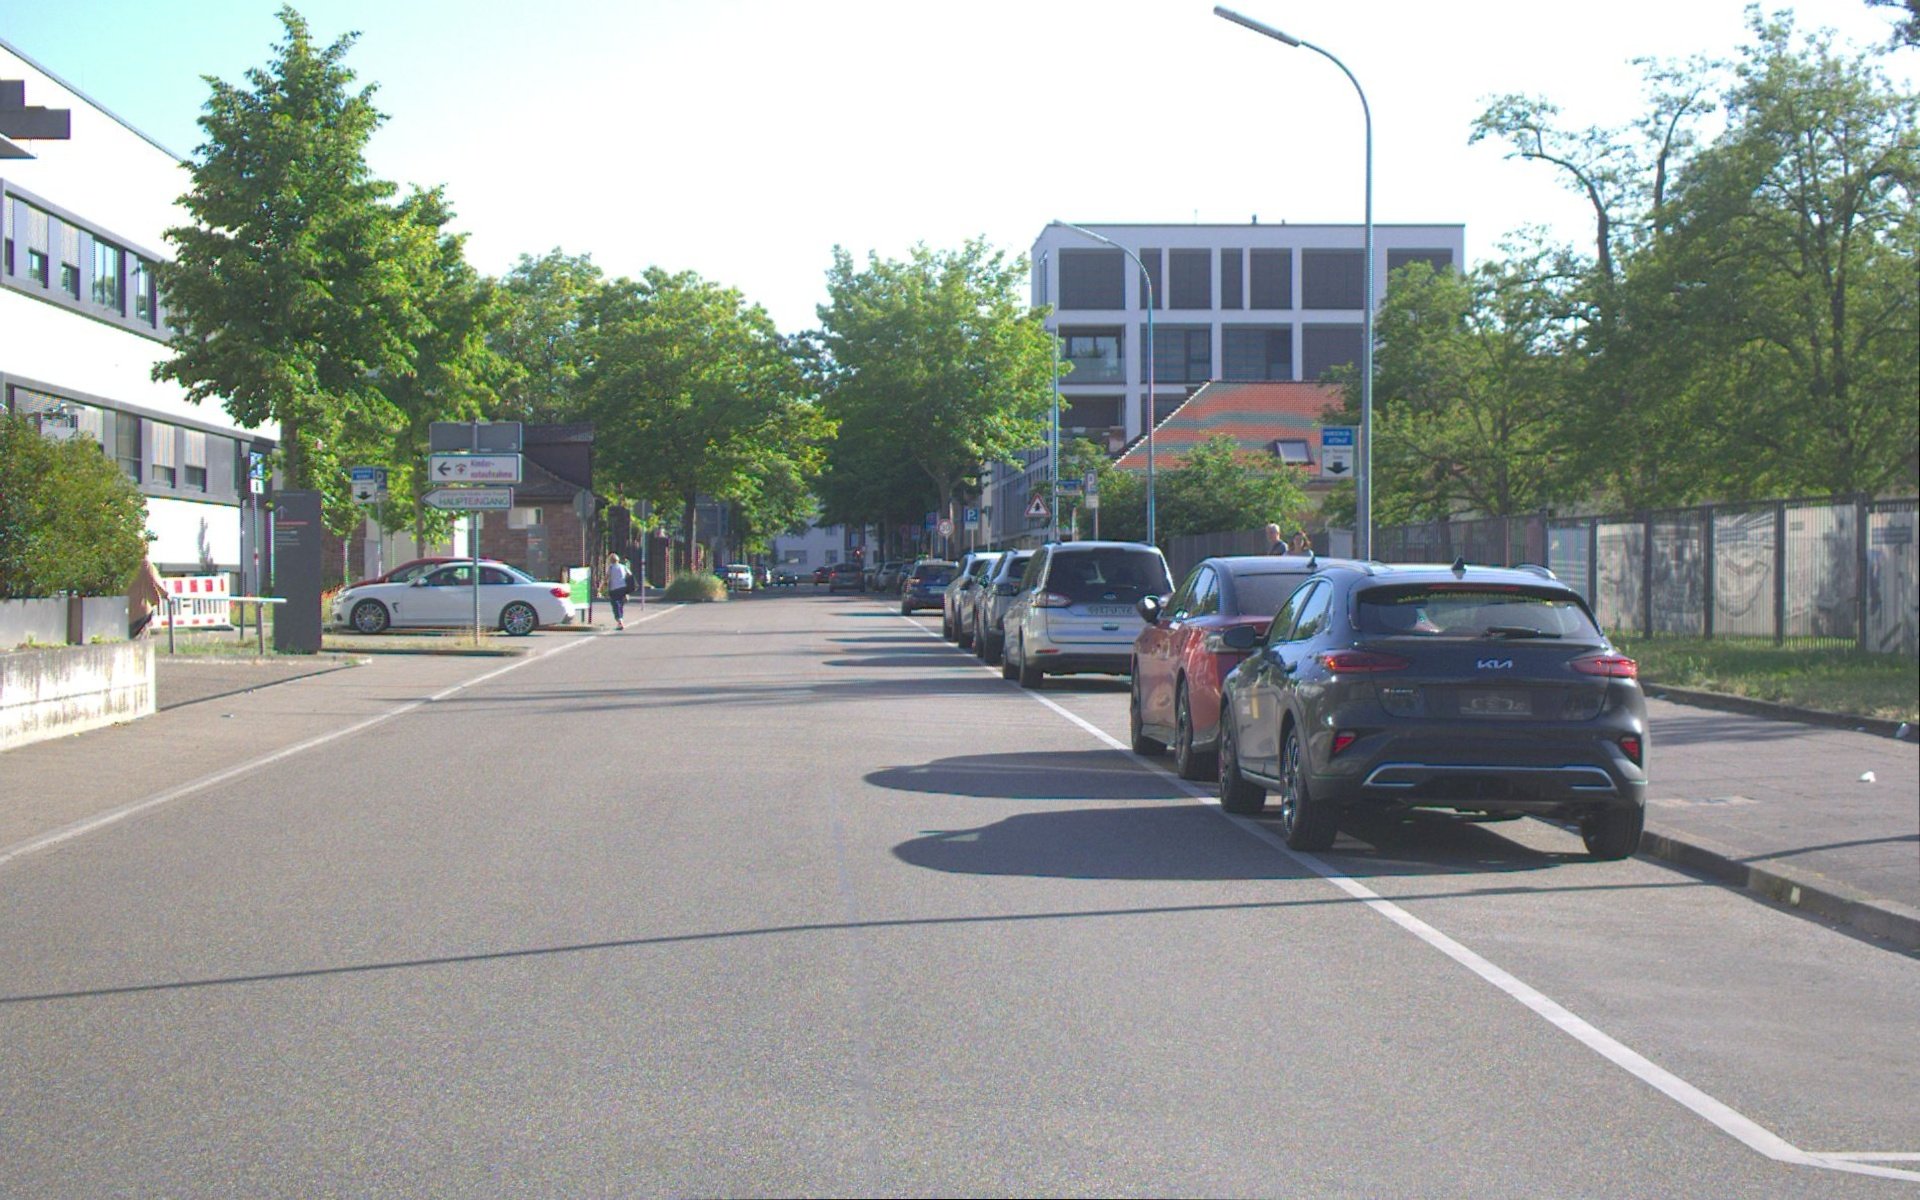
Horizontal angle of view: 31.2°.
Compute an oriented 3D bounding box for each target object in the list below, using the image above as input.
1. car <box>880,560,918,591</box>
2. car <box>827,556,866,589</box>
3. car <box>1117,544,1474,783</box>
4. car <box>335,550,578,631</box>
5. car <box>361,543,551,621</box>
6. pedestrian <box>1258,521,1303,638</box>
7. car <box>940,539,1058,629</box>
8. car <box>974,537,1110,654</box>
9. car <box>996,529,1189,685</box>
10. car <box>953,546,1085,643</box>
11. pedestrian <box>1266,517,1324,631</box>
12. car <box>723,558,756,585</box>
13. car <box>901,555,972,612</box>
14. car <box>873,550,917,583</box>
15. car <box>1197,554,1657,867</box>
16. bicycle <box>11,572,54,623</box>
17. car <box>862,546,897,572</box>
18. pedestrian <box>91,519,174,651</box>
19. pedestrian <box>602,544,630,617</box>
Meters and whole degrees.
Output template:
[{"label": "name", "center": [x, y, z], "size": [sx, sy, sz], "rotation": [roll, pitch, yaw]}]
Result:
[{"label": "car", "center": [-3.251, -1.305, 181.840], "size": [1.950, 1.573, 3.837], "rotation": [0, 1, -1]}, {"label": "car", "center": [-5.528, -1.339, 167.264], "size": [1.767, 1.543, 4.066], "rotation": [0, 1, -4]}, {"label": "car", "center": [2.299, 0.377, 24.756], "size": [1.809, 1.505, 4.723], "rotation": [1, 1, -3]}, {"label": "car", "center": [-9.653, -0.189, 66.111], "size": [4.510, 1.363, 1.700], "rotation": [2, 1, -7]}, {"label": "car", "center": [-10.071, -0.366, 68.836], "size": [3.634, 1.464, 1.614], "rotation": [1, 1, -4]}, {"label": "pedestrian", "center": [4.728, -0.303, 50.770], "size": [0.521, 1.703, 0.522], "rotation": [2, 0, -5]}, {"label": "car", "center": [0.693, -0.329, 63.958], "size": [1.812, 1.583, 4.263], "rotation": [1, 1, -4]}, {"label": "car", "center": [1.162, -0.099, 50.390], "size": [1.700, 1.601, 4.353], "rotation": [1, 1, -2]}, {"label": "car", "center": [1.520, 0.040, 41.097], "size": [1.809, 1.716, 4.705], "rotation": [1, 1, -3]}, {"label": "car", "center": [0.928, -0.112, 56.247], "size": [1.700, 1.482, 3.981], "rotation": [1, 1, -5]}, {"label": "pedestrian", "center": [4.785, -0.367, 49.120], "size": [0.681, 1.606, 0.541], "rotation": [2, 0, -5]}, {"label": "car", "center": [-12.335, -1.581, 192.361], "size": [1.767, 1.482, 4.001], "rotation": [0, 1, -4]}, {"label": "car", "center": [-0.659, -0.457, 91.714], "size": [1.817, 1.448, 4.214], "rotation": [0, 1, -1]}, {"label": "car", "center": [-2.906, -1.505, 152.607], "size": [1.767, 1.435, 4.001], "rotation": [0, 1, -4]}, {"label": "car", "center": [2.440, 0.515, 18.974], "size": [1.700, 1.482, 4.216], "rotation": [1, 1, -3]}, {"label": "bicycle", "center": [-15.927, -0.049, 59.050], "size": [0.369, 0.860, 1.451], "rotation": [0, 1, -1]}, {"label": "car", "center": [-4.628, -2.351, 197.561], "size": [1.993, 1.460, 3.837], "rotation": [0, 1, -1]}, {"label": "pedestrian", "center": [-9.903, -0.181, 41.161], "size": [0.772, 1.544, 0.780], "rotation": [2, 0, -2]}, {"label": "pedestrian", "center": [-7.263, -0.417, 72.551], "size": [0.538, 1.518, 0.607], "rotation": [0, 1, -1]}]
